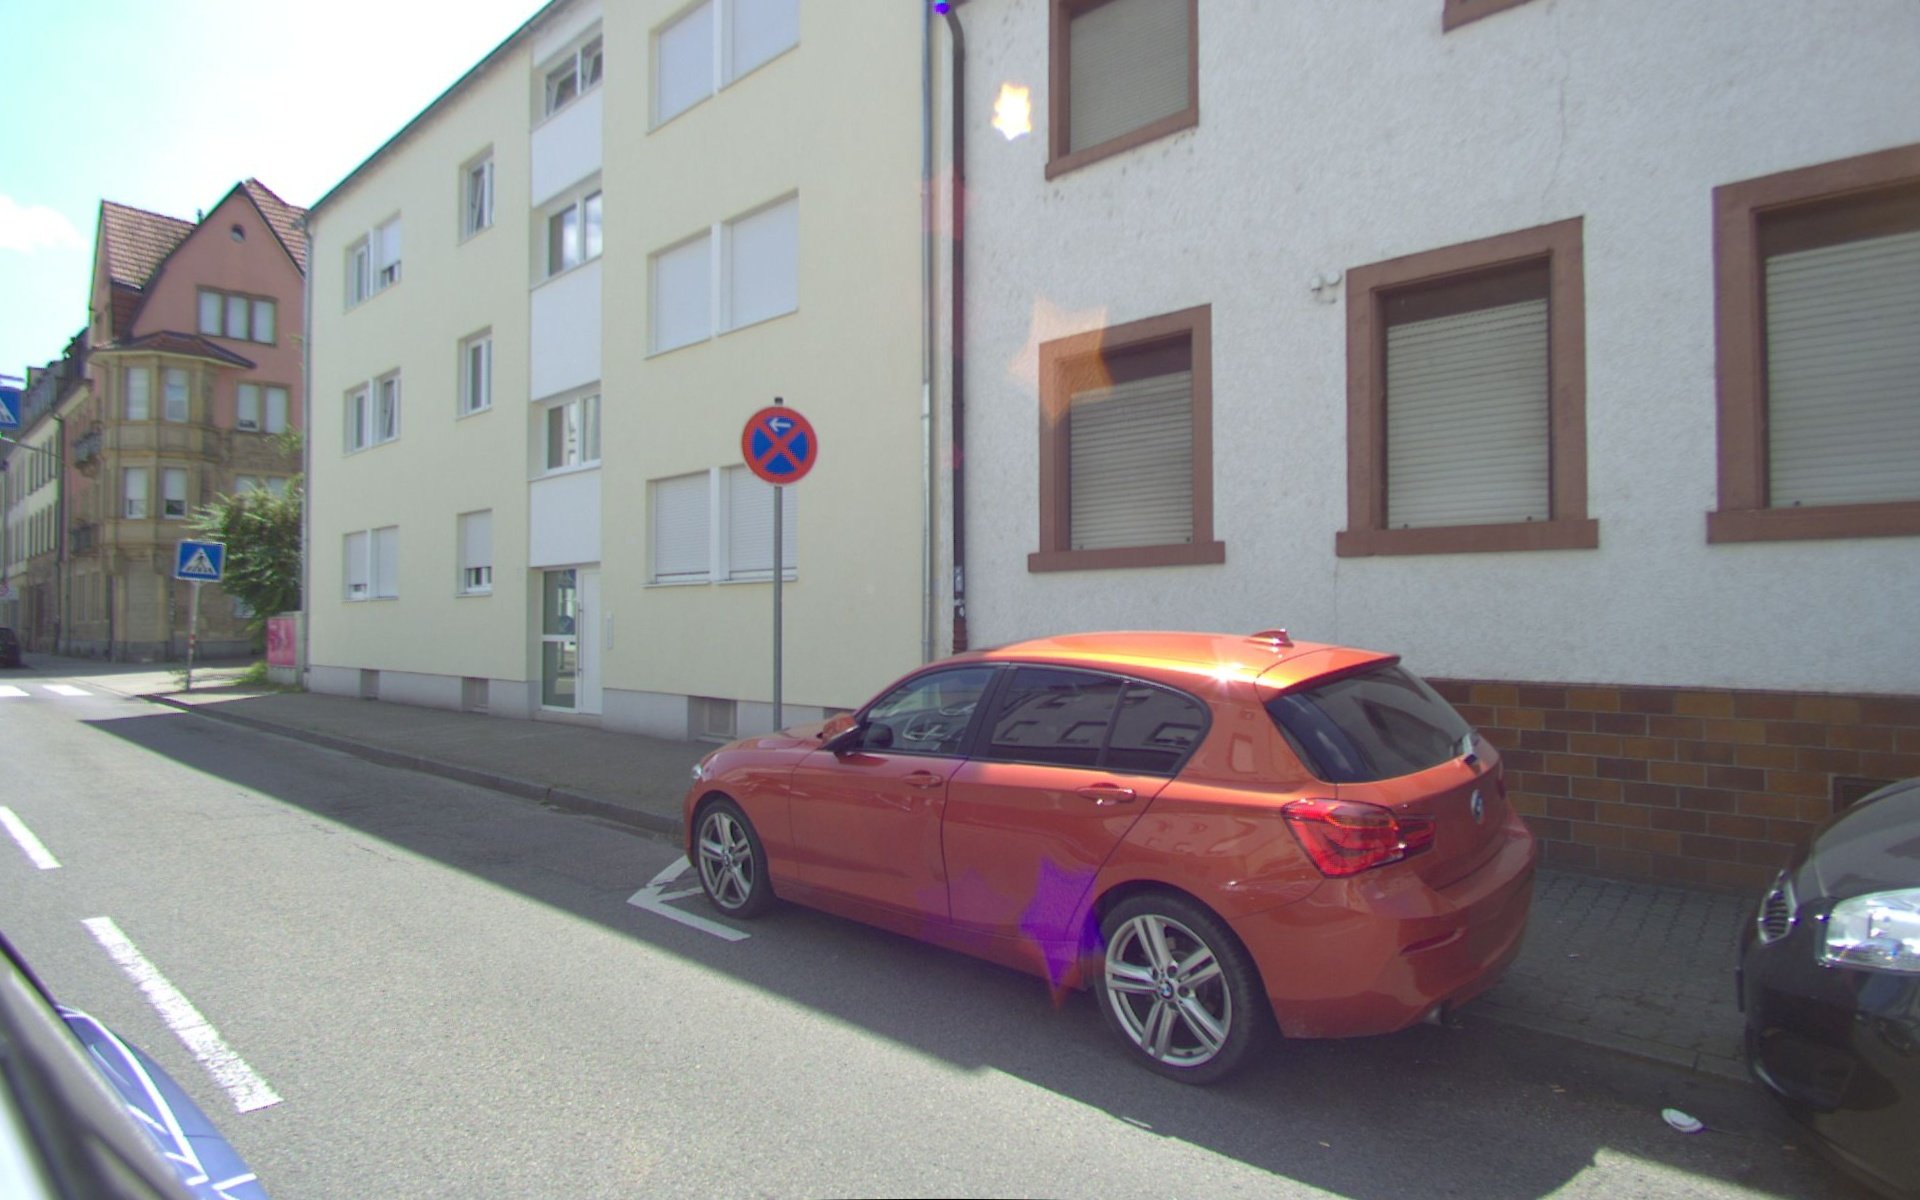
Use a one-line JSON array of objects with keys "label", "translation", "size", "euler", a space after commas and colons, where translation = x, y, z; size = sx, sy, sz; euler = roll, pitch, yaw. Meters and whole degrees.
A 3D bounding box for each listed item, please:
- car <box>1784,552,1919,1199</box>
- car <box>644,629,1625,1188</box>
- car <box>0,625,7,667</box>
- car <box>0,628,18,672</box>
[{"label": "car", "translation": [3.961, 0.696, 1.679], "size": [3.943, 1.659, 1.775], "euler": [-1, -1, 42]}, {"label": "car", "translation": [0.428, 0.862, 4.784], "size": [4.290, 1.427, 1.813], "euler": [-1, -2, 43]}, {"label": "car", "translation": [-36.831, 1.710, 37.884], "size": [2.694, 1.534, 1.421], "euler": [-1, -2, 41]}, {"label": "car", "translation": [-34.079, 1.690, 35.055], "size": [4.634, 1.469, 1.763], "euler": [-1, -2, 43]}]
